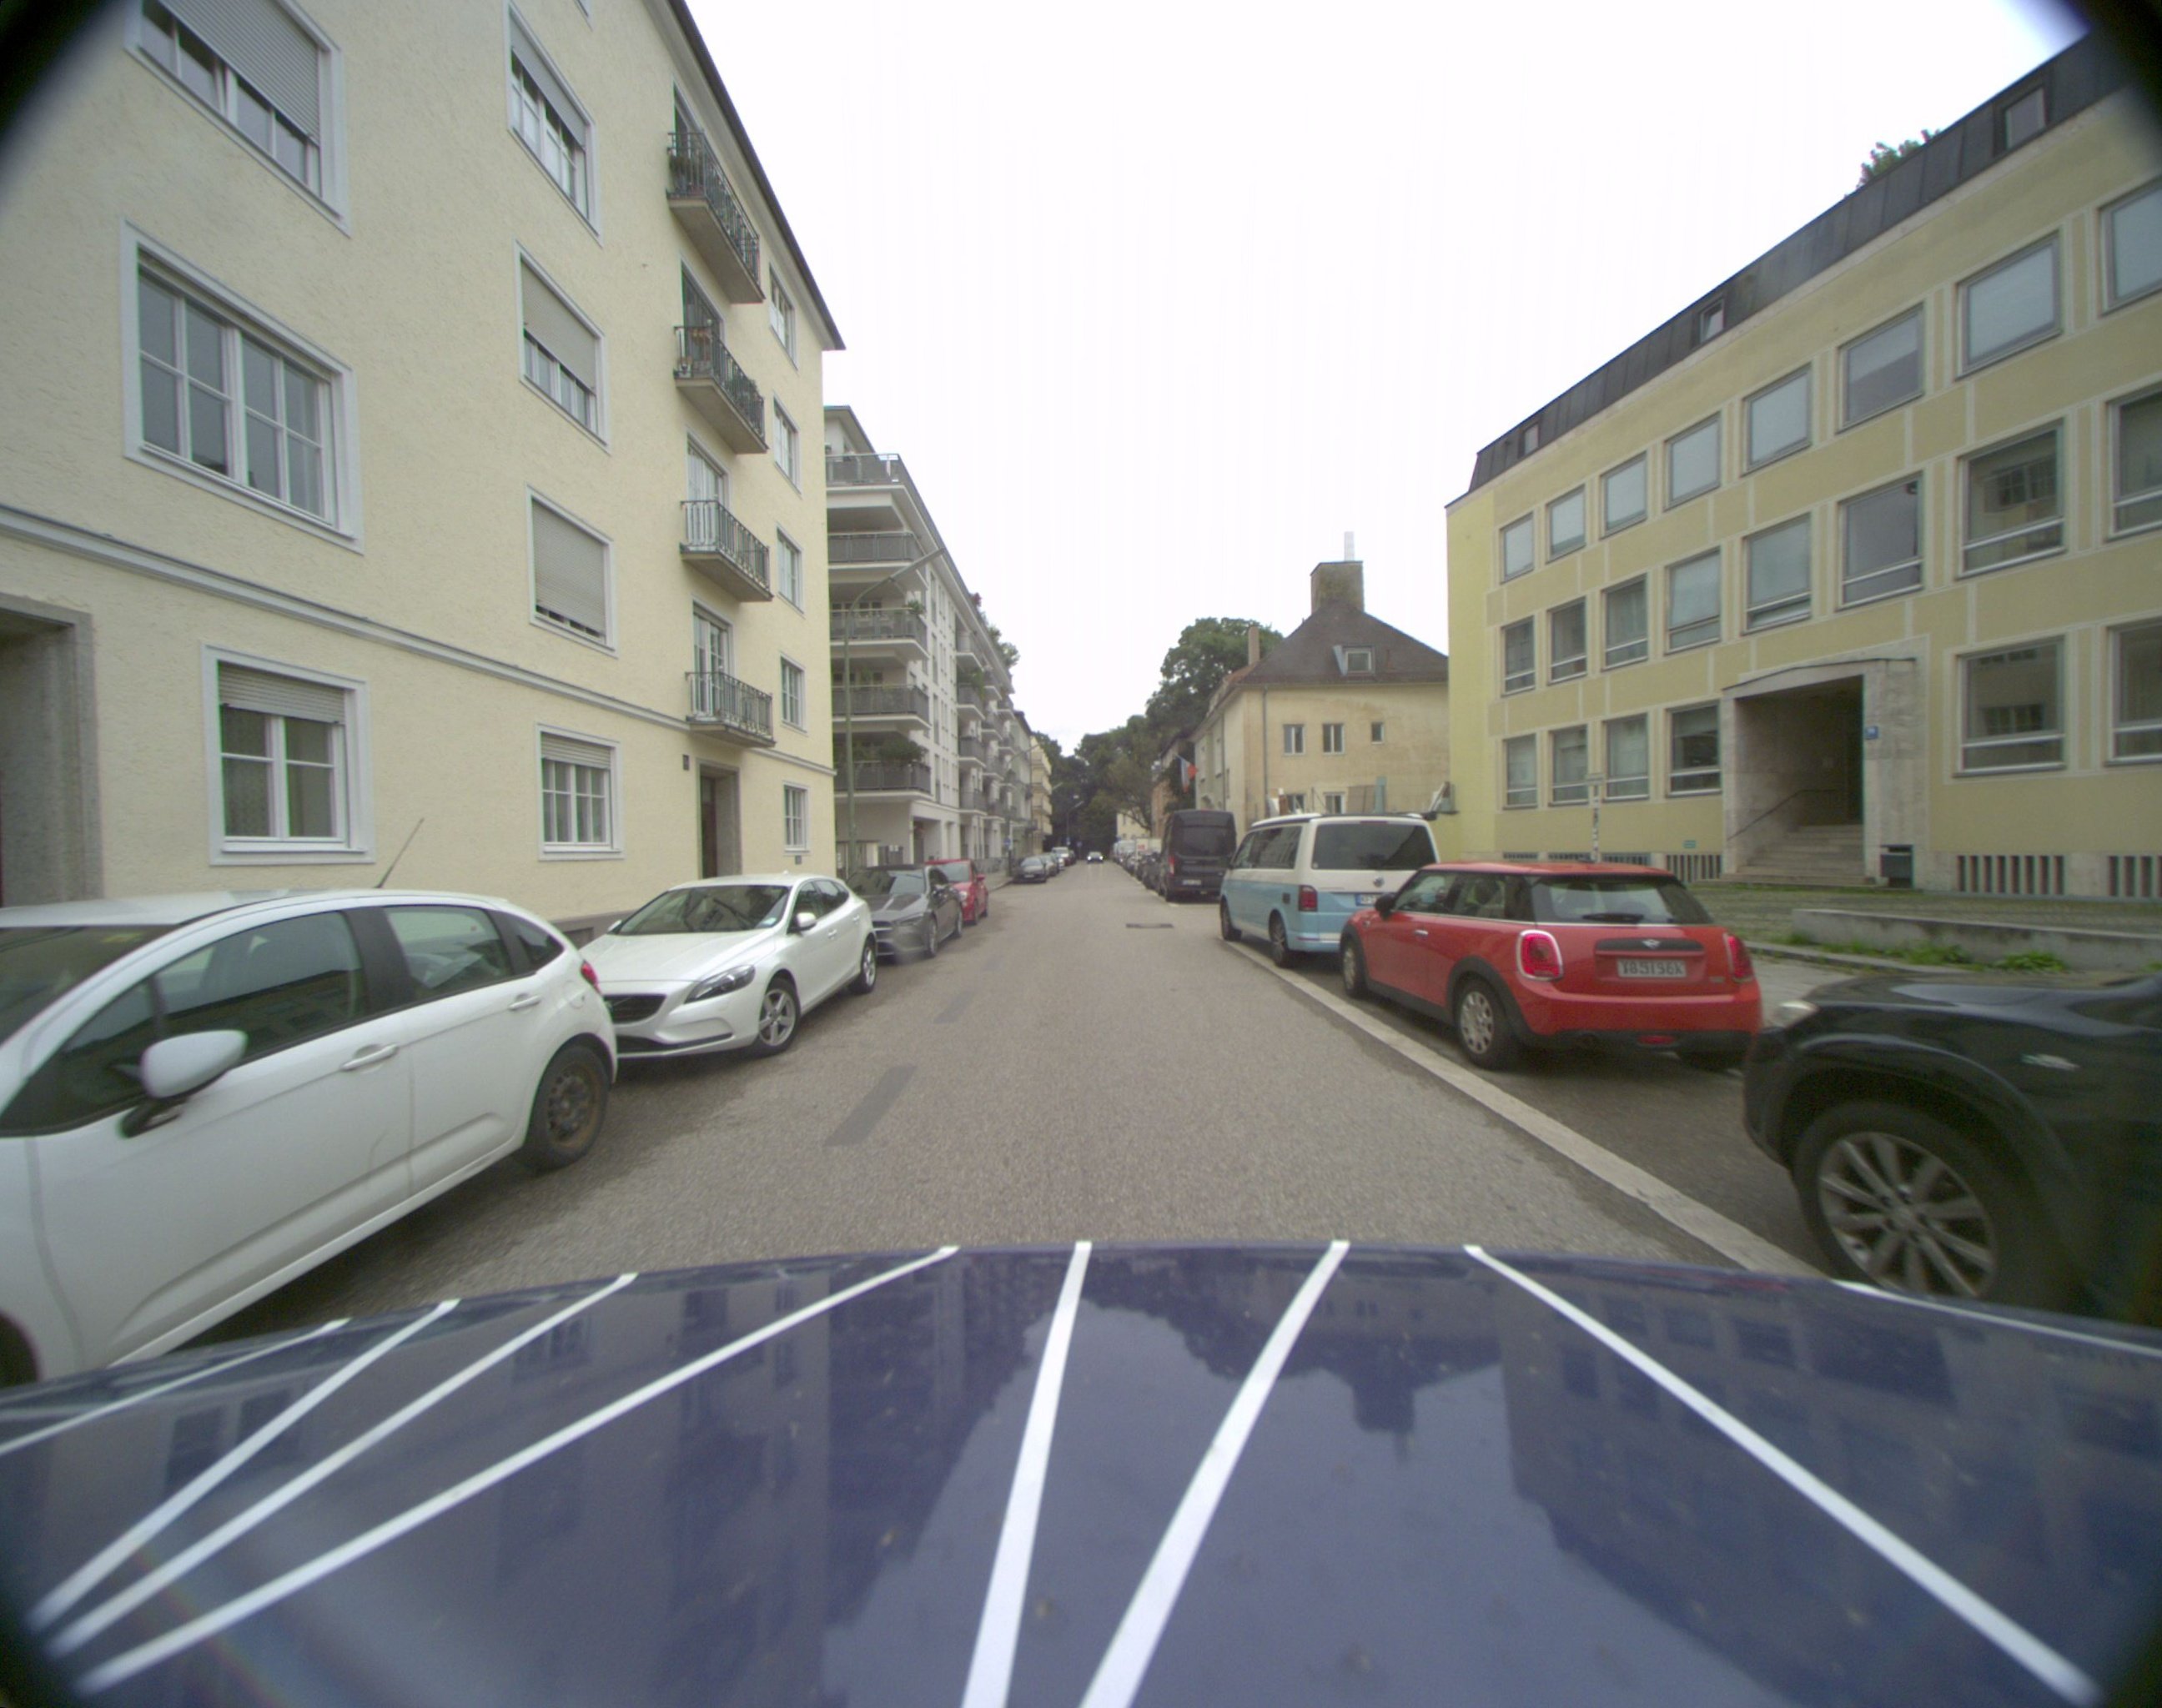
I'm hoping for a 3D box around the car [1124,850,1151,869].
[{"bbox_3d":[4.227,0.379,57.380,1.750,1.360,4.402,0,0,1],"label":"car"}]

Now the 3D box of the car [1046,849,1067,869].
[{"bbox_3d":[-2.014,0.377,63.574,1.668,1.459,4.374,-1,2,-1],"label":"car"}]

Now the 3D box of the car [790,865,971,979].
[{"bbox_3d":[-3.087,0.966,12.737,1.777,1.421,4.614,-2,0,0],"label":"car"}]

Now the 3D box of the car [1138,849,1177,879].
[{"bbox_3d":[4.016,0.492,40.613,1.868,1.533,5.092,0,0,3],"label":"car"}]

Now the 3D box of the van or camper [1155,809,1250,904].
[{"bbox_3d":[3.678,0.047,24.174,2.298,2.635,5.561,1,1,2],"label":"van or camper"}]

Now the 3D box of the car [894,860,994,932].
[{"bbox_3d":[-3.124,0.916,18.026,1.659,1.421,3.755,-2,0,-1],"label":"car"}]

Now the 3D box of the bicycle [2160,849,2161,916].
[{"bbox_3d":[15.968,0.365,10.888,1.413,0.939,0.413,-3,1,-28],"label":"bicycle"}]

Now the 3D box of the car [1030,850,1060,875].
[{"bbox_3d":[-2.370,0.542,51.463,1.796,1.473,4.602,-3,1,0],"label":"car"}]

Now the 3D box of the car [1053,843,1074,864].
[{"bbox_3d":[-1.753,-0.041,78.244,1.858,2.019,4.783,-2,0,1],"label":"car"}]

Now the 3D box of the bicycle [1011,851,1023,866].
[{"bbox_3d":[-5.377,0.388,64.046,0.803,1.165,1.973,-2,1,2],"label":"bicycle"}]

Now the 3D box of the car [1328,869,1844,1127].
[{"bbox_3d":[3.561,0.883,6.310,1.809,1.398,3.709,1,0,0],"label":"car"}]

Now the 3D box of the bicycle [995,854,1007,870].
[{"bbox_3d":[-5.842,0.583,55.432,0.570,1.092,1.810,2,1,2],"label":"bicycle"}]

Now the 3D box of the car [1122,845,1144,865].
[{"bbox_3d":[4.691,0.106,68.670,1.719,1.746,4.250,0,0,1],"label":"car"}]

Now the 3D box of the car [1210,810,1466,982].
[{"bbox_3d":[3.346,0.485,11.111,1.920,1.948,4.960,0,0,-2],"label":"car"}]

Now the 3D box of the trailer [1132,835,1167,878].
[{"bbox_3d":[4.165,0.119,46.597,1.980,2.457,4.577,1,1,4],"label":"trailer"}]

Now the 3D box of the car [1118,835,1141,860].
[{"bbox_3d":[4.963,-0.639,79.062,2.117,2.461,5.231,0,0,1],"label":"car"}]

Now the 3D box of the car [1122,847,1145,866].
[{"bbox_3d":[4.298,0.192,62.413,1.630,1.459,3.520,0,1,1],"label":"car"}]

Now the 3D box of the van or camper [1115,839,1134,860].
[{"bbox_3d":[5.433,-0.553,95.497,2.116,2.646,4.957,0,0,1],"label":"van or camper"}]

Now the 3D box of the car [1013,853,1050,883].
[{"bbox_3d":[-2.654,0.718,41.573,1.776,1.467,4.217,-2,0,-1],"label":"car"}]

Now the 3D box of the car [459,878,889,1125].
[{"bbox_3d":[-3.236,1.044,7.191,1.729,1.421,4.293,-2,0,-1],"label":"car"}]

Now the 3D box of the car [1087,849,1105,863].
[{"bbox_3d":[1.708,0.245,87.014,1.998,1.521,4.000,-2,0,1],"label":"car"}]

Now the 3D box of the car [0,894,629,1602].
[{"bbox_3d":[-3.438,1.038,2.409,1.655,1.535,3.992,-2,0,-2],"label":"car"}]

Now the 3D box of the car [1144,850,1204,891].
[{"bbox_3d":[3.526,0.593,29.438,1.657,1.488,3.907,0,0,-3],"label":"car"}]

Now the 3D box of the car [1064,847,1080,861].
[{"bbox_3d":[-1.101,-0.020,95.225,1.771,1.607,4.263,-2,0,1],"label":"car"}]

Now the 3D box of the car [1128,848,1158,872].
[{"bbox_3d":[4.160,0.364,51.375,1.683,1.521,4.107,0,0,1],"label":"car"}]

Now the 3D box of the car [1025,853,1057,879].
[{"bbox_3d":[-2.430,0.712,46.484,1.621,1.458,3.746,-2,0,1],"label":"car"}]

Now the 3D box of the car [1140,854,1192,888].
[{"bbox_3d":[3.736,0.713,34.009,1.679,1.428,4.285,0,0,-2],"label":"car"}]

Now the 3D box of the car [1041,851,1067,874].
[{"bbox_3d":[-2.013,0.607,57.279,1.842,1.524,4.020,-3,1,-1],"label":"car"}]

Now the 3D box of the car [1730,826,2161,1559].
[{"bbox_3d":[3.333,0.780,0.823,1.719,1.680,4.140,0,0,0],"label":"car"}]
